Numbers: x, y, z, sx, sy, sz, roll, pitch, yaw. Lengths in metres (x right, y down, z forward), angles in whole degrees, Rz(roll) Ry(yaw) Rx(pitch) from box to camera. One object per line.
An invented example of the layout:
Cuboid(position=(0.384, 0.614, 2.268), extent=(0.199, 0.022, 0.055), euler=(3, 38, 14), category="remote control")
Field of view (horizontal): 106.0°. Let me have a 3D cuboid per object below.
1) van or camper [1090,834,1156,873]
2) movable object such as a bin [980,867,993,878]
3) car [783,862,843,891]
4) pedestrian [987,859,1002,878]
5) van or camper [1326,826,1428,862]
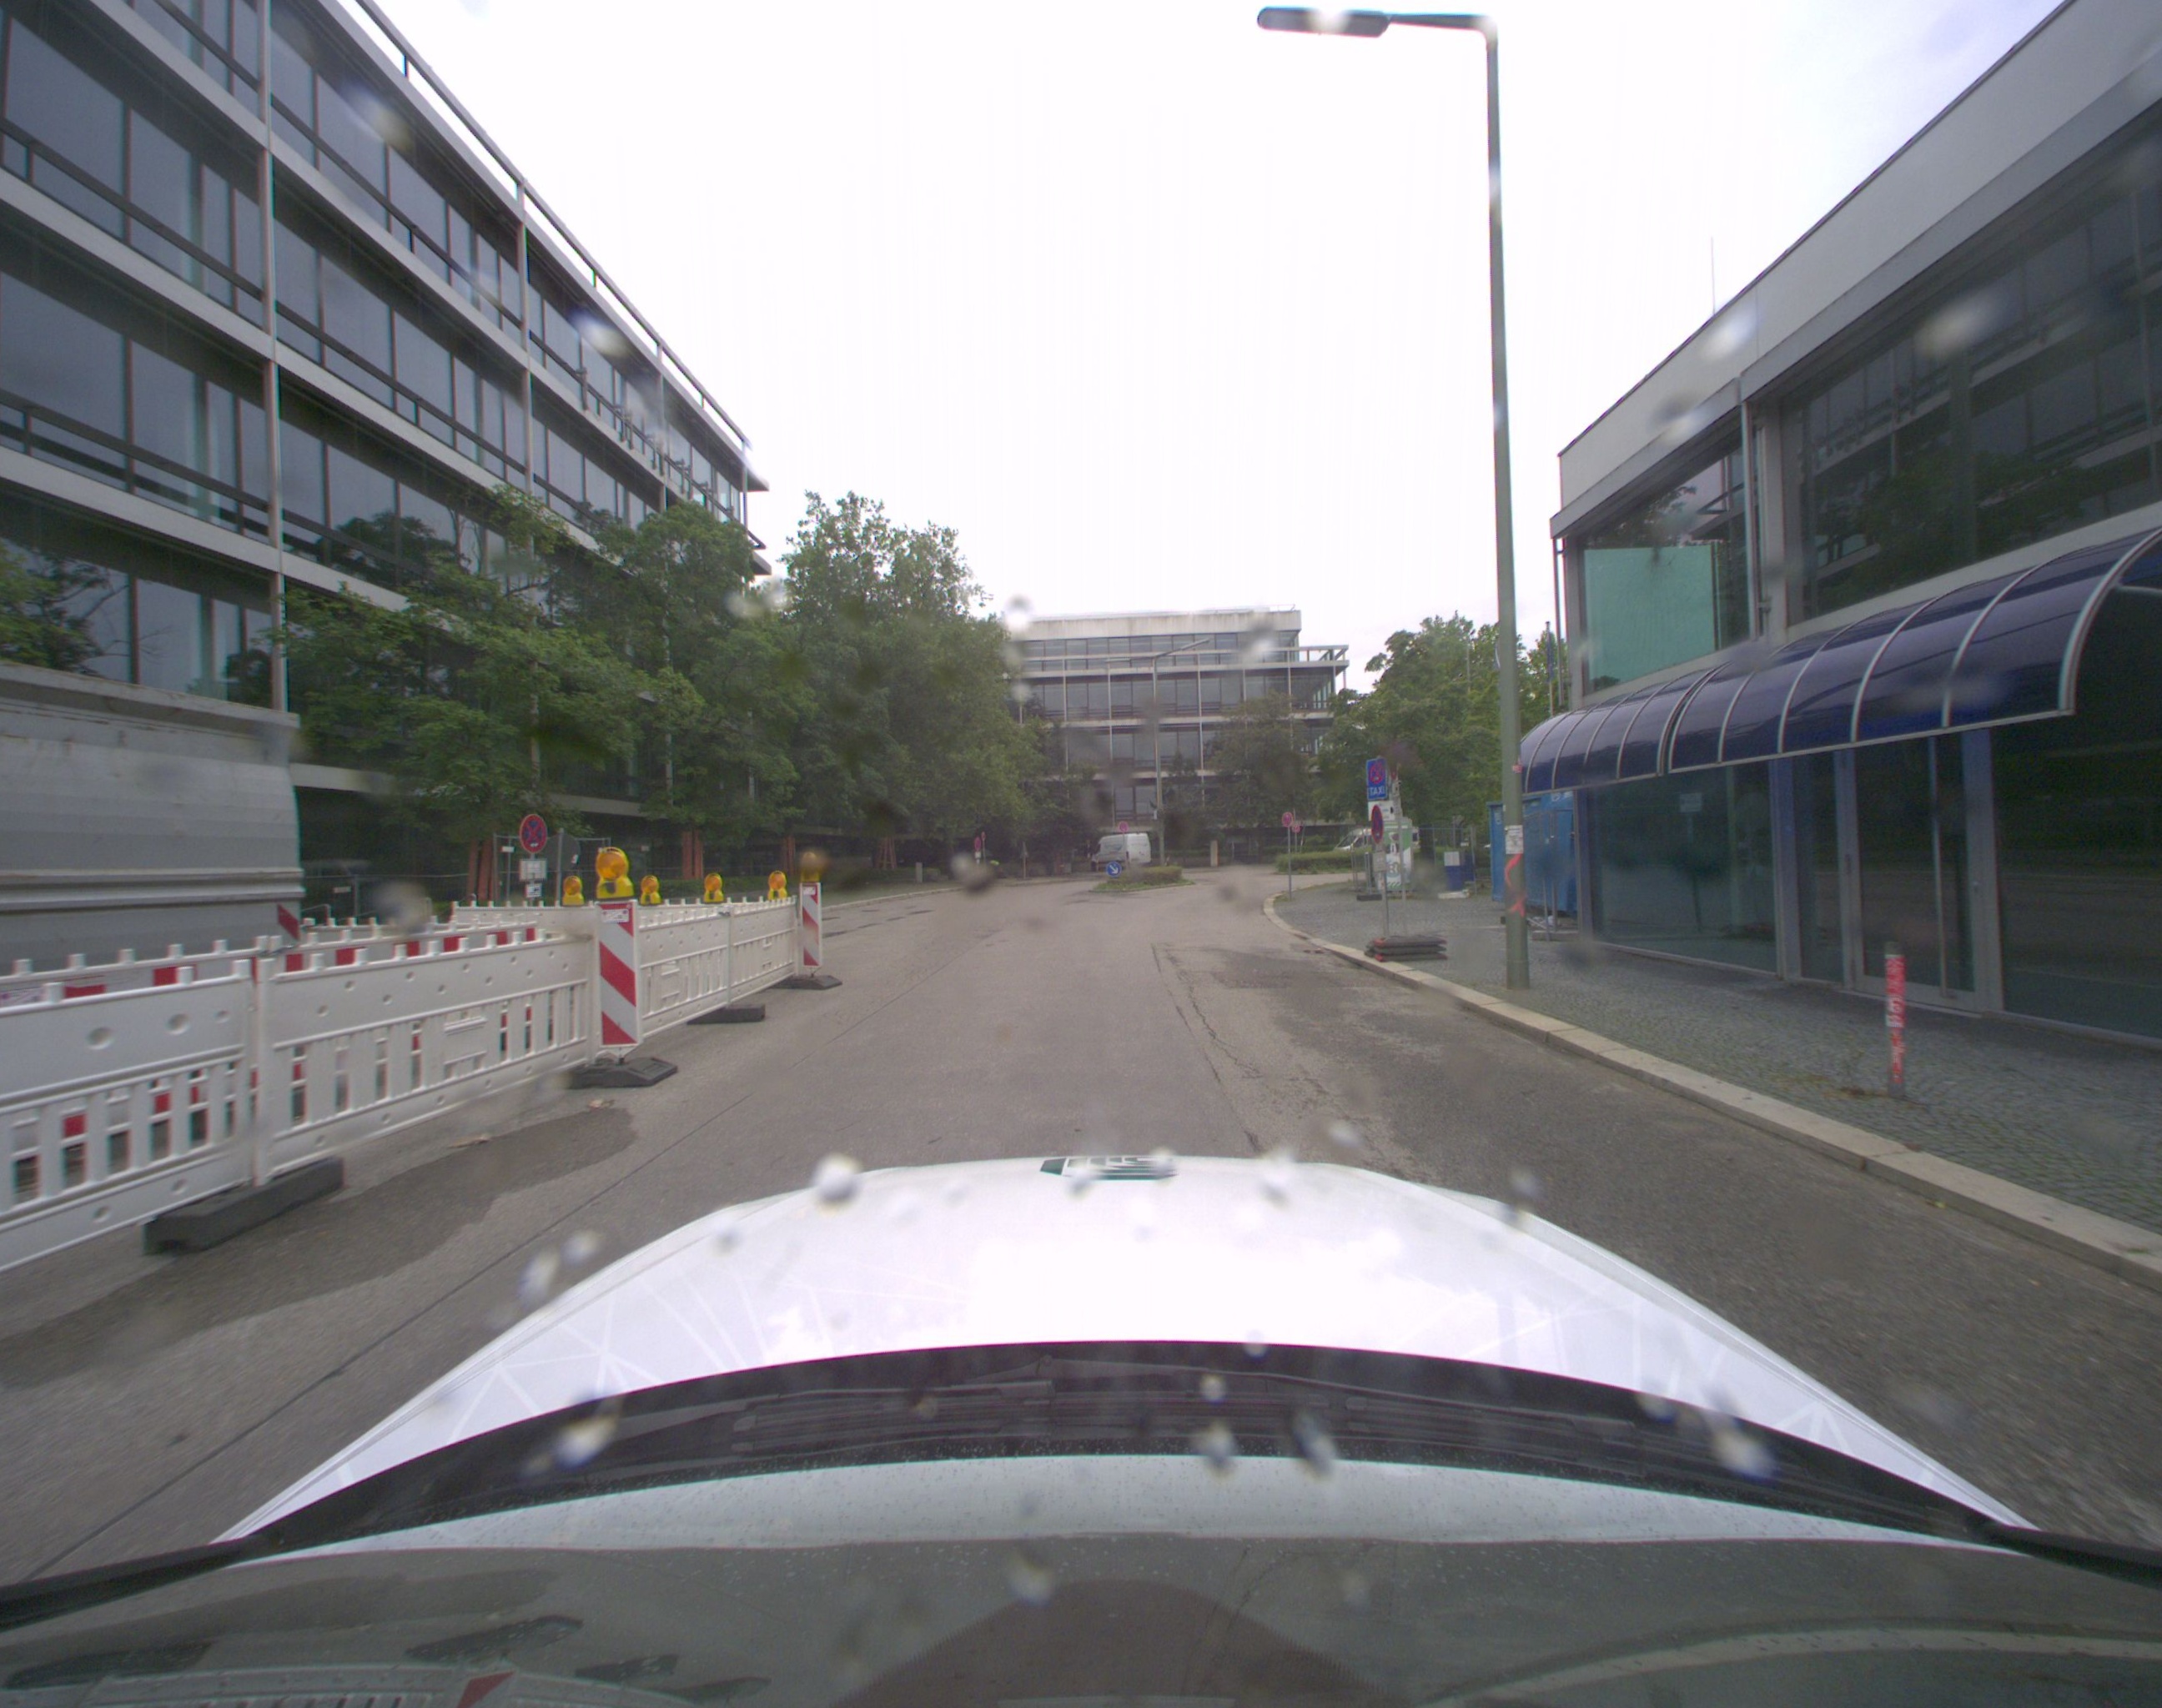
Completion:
Cuboid(position=(2.967, 0.043, 59.662), extent=(2.165, 2.581, 6.487), euler=(-1, -2, -23), category="van or camper")
Cuboid(position=(-6.710, 1.294, 57.723), extent=(0.830, 0.753, 0.573), euler=(-1, 0, 4), category="movable object such as a bin")
Cuboid(position=(-15.338, 1.263, 46.837), extent=(1.898, 1.473, 3.864), euler=(-2, 0, 4), category="car")
Cuboid(position=(-6.149, 1.032, 57.746), extent=(0.922, 1.278, 0.542), euler=(-1, 0, 4), category="pedestrian")
Cuboid(position=(20.409, -0.701, 56.225), extent=(6.403, 2.281, 2.246), euler=(-2, 0, -12), category="van or camper")
